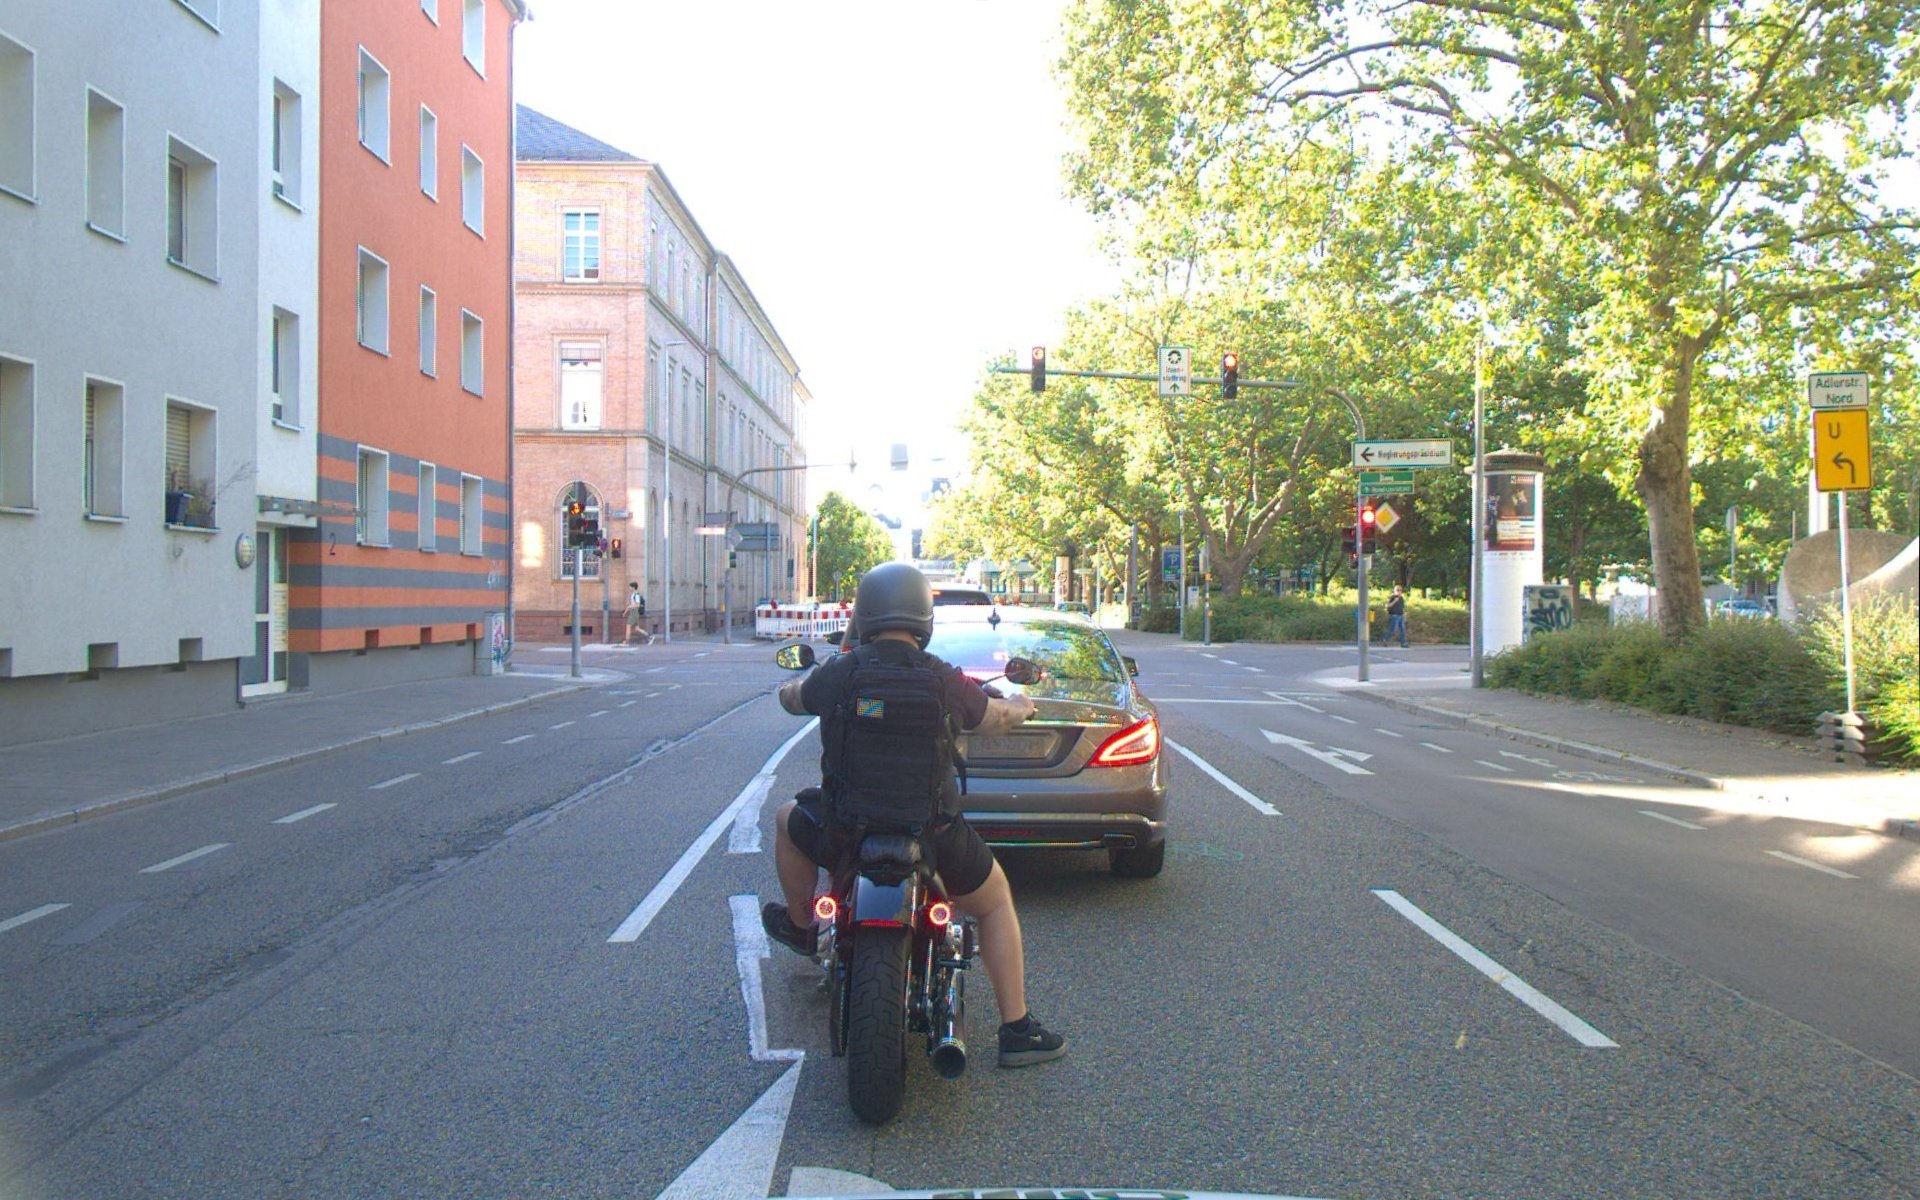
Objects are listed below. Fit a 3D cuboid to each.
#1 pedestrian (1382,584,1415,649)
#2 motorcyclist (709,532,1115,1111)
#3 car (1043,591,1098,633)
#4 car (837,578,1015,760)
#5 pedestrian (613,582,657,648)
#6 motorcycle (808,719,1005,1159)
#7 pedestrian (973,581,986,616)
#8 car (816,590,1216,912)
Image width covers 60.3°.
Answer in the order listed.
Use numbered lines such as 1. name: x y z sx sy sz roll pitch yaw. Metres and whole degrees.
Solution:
1. pedestrian: 13.394 0.492 50.520 0.903 1.943 0.752 1 -1 12
2. motorcyclist: -0.142 0.632 5.336 1.125 1.626 1.288 1 0 -1
3. car: 4.362 0.463 65.614 1.814 1.602 4.134 1 0 -1
4. car: -0.330 0.607 16.720 1.588 1.622 3.999 0 0 -1
5. pedestrian: -9.264 0.418 47.188 0.989 1.858 1.068 1 -1 -25
6. motorcycle: -0.156 0.970 5.383 0.503 1.020 2.013 1 0 -1
7. pedestrian: 1.183 -0.085 100.874 0.748 2.087 0.712 1 -1 -1
8. car: 0.236 0.694 9.612 1.844 1.475 3.819 1 0 -1
